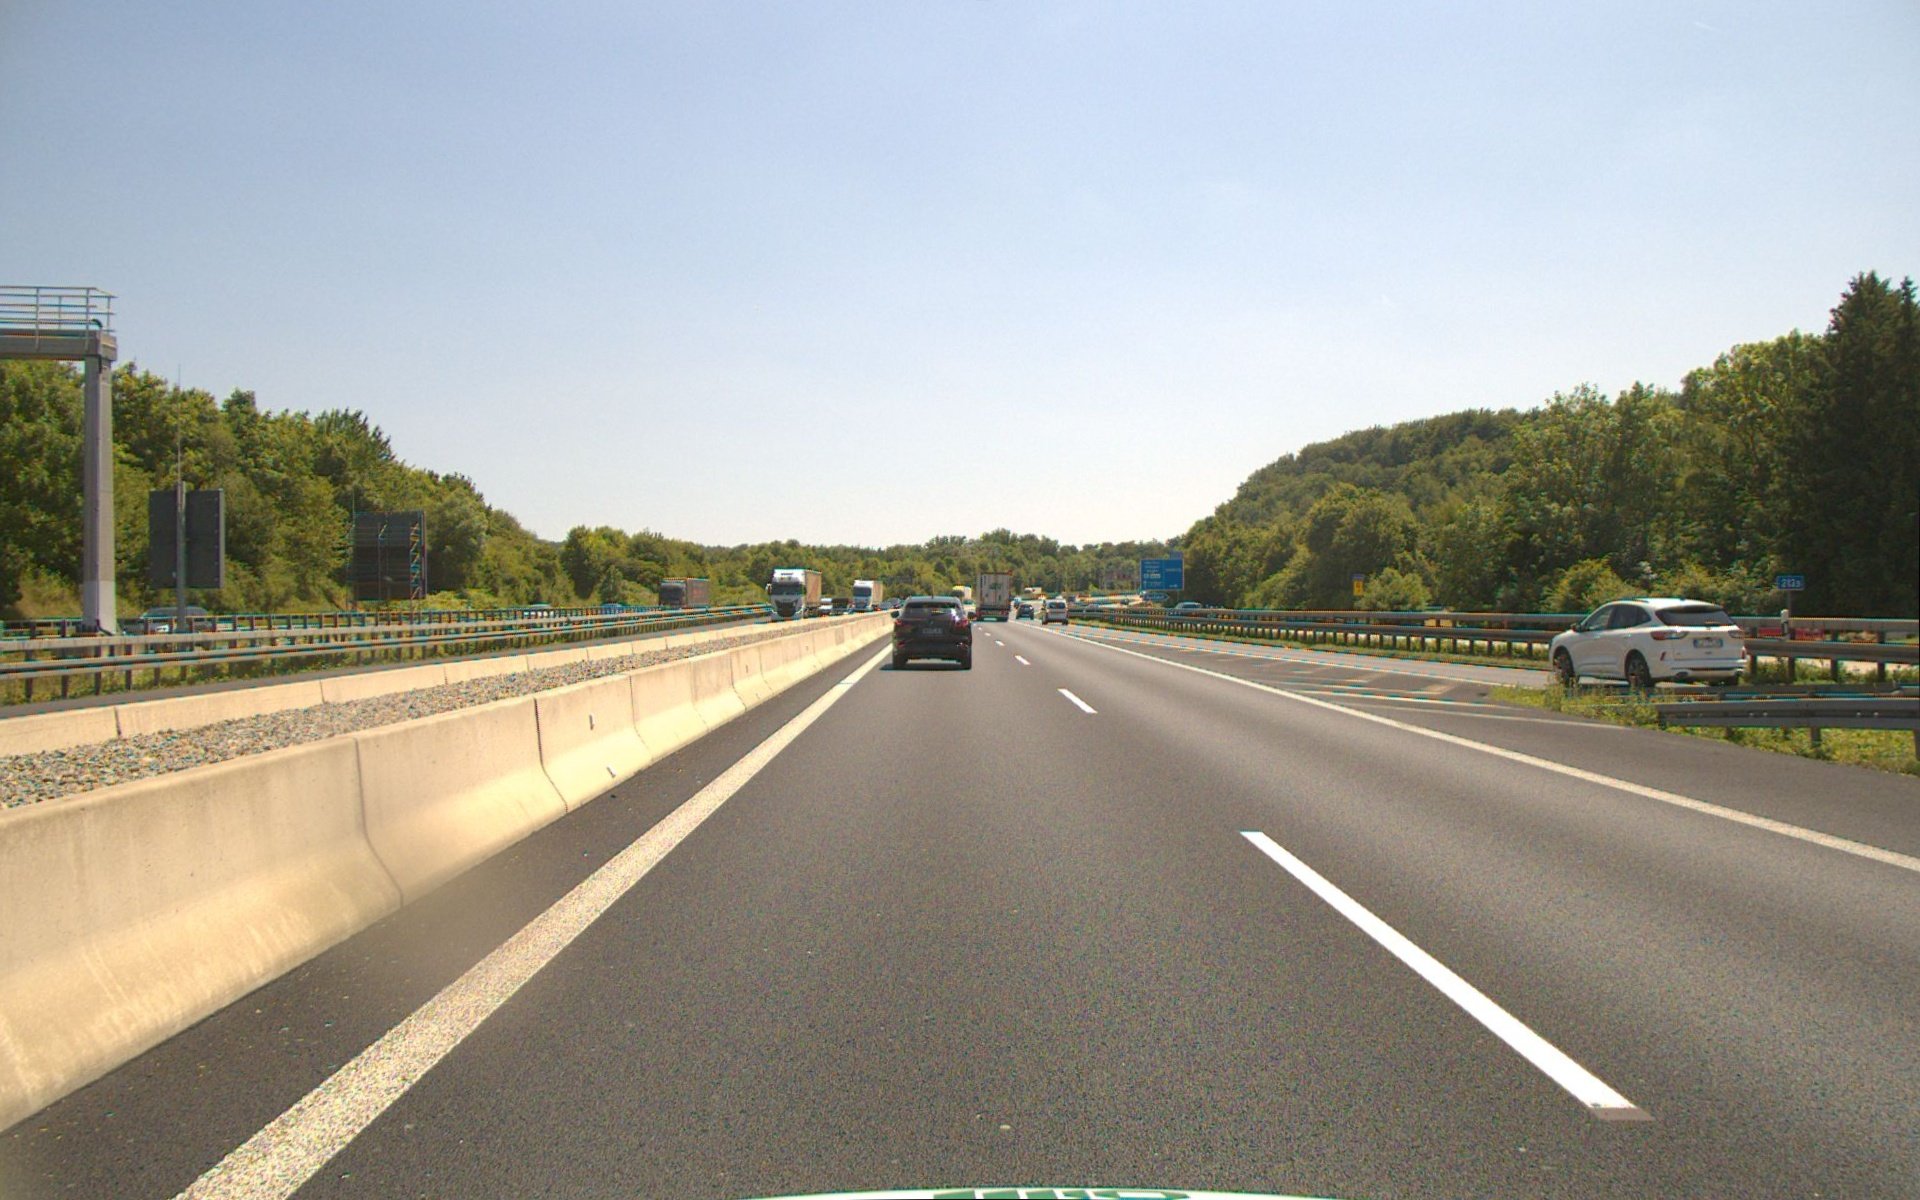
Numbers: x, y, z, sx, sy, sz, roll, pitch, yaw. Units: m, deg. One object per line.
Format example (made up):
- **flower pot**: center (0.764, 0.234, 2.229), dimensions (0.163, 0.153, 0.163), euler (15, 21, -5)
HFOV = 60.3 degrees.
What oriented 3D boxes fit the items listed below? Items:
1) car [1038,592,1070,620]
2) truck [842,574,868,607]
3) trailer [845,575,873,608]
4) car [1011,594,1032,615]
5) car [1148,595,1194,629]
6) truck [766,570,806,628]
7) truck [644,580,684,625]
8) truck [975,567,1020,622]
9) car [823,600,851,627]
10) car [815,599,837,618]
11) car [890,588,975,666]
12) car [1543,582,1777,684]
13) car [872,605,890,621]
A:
- **car**: center (7.099, 0.460, 125.065), dimensions (1.954, 2.049, 3.998), euler (-2, 0, -3)
- **truck**: center (-13.213, -1.199, 208.626), dimensions (2.869, 4.042, 5.897), euler (1, -1, -1)
- **trailer**: center (-13.256, -1.078, 217.526), dimensions (2.850, 4.116, 12.062), euler (1, 0, 0)
- **car**: center (6.412, 0.482, 173.515), dimensions (1.953, 2.049, 3.999), euler (1, -1, 0)
- **car**: center (13.622, 0.766, 106.840), dimensions (1.956, 2.049, 3.994), euler (-2, 0, -7)
- **truck**: center (-13.429, -0.038, 127.859), dimensions (2.651, 4.363, 4.552), euler (1, -1, -1)
- **truck**: center (-29.242, 0.247, 163.521), dimensions (2.751, 4.347, 5.000), euler (1, -1, 3)
- **truck**: center (3.274, -0.411, 142.297), dimensions (2.968, 4.496, 12.025), euler (1, -1, 5)
- **car**: center (-9.769, 1.048, 131.608), dimensions (1.879, 2.049, 5.345), euler (-1, 0, -1)
- **car**: center (-13.360, 0.871, 165.114), dimensions (1.706, 1.858, 4.904), euler (1, 0, 1)
- **car**: center (-0.681, 0.600, 38.072), dimensions (1.744, 1.605, 3.997), euler (3, -1, -3)
- **car**: center (12.677, 0.582, 30.289), dimensions (1.956, 1.691, 4.460), euler (1, 0, -7)
- **car**: center (-9.145, 1.487, 191.216), dimensions (1.944, 1.858, 4.824), euler (1, 0, -2)
